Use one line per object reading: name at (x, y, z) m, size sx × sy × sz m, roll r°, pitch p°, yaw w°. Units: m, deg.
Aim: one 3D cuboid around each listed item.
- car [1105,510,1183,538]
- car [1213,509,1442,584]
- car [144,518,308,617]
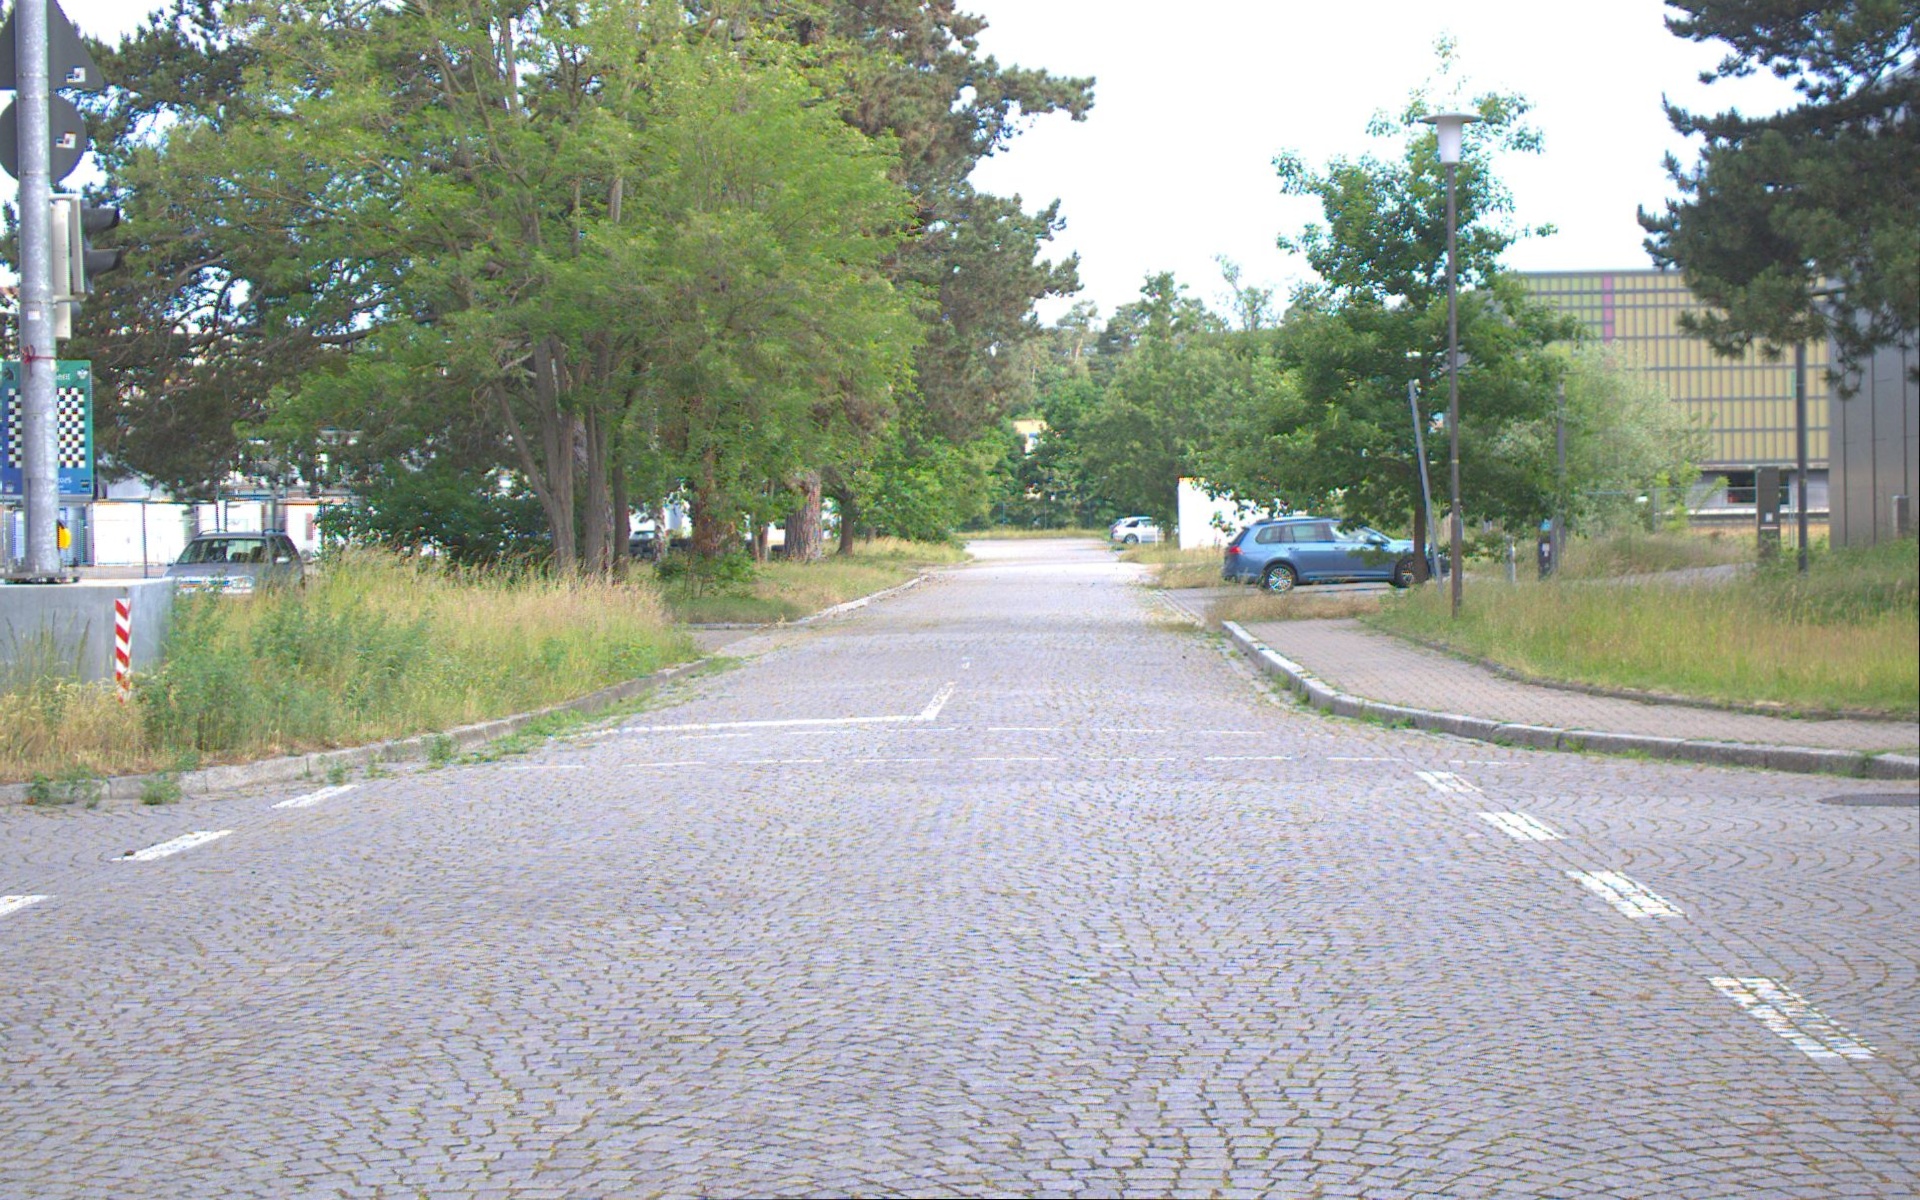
car at (9.965, -4.111, 185.899) m, size 3.986 × 1.393 × 2.000 m, roll -1°, pitch 2°, yaw -4°
car at (7.329, -1.080, 68.871) m, size 4.344 × 1.417 × 2.000 m, roll -1°, pitch 2°, yaw 0°
car at (-11.634, -0.551, 54.706) m, size 1.613 × 1.482 × 4.000 m, roll -1°, pitch 2°, yaw 2°
